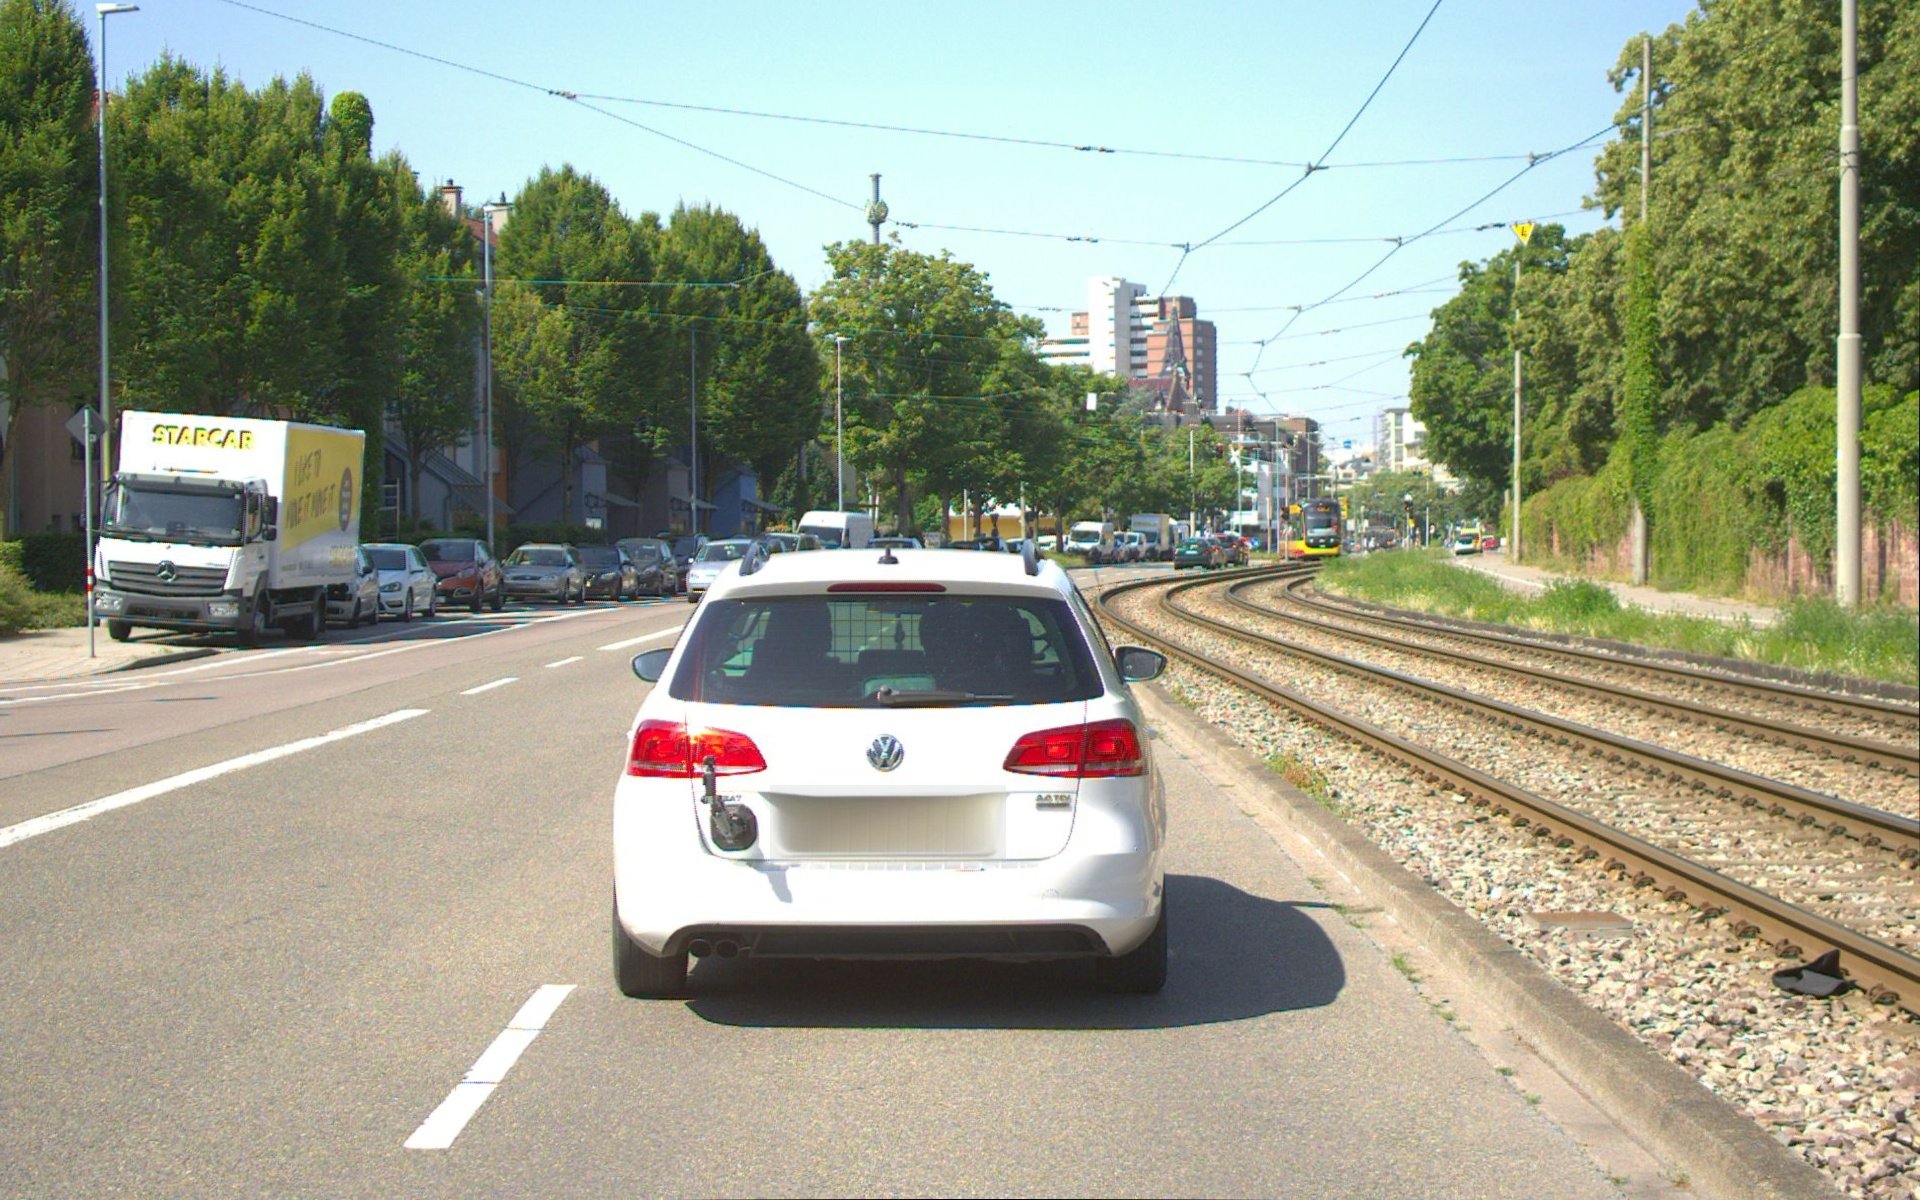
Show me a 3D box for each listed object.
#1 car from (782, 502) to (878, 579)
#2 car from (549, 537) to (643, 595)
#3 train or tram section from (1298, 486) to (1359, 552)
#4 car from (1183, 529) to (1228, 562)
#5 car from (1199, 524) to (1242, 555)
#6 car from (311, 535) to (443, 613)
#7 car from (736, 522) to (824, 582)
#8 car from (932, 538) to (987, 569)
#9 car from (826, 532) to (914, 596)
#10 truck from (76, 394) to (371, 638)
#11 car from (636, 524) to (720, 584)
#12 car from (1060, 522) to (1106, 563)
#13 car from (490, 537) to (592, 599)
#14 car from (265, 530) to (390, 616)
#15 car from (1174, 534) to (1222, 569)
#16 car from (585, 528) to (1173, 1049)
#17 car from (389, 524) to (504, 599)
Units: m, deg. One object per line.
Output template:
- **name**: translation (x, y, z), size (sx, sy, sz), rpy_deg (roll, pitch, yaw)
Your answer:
- **car**: translation (-4.797, -2.215, 128.119), size (1.995, 2.705, 7.154), rpy_deg (3, 1, 10)
- **car**: translation (-9.738, -0.930, 92.266), size (1.723, 1.469, 4.714), rpy_deg (1, 1, 3)
- **train or tram section**: translation (21.780, -4.735, 202.678), size (2.512, 3.734, 13.305), rpy_deg (0, 1, 11)
- **car**: translation (11.498, -2.563, 161.041), size (1.801, 1.455, 3.999), rpy_deg (1, 2, 8)
- **car**: translation (12.740, -2.958, 167.836), size (1.801, 1.455, 3.999), rpy_deg (0, 1, 8)
- **car**: translation (-11.299, -0.532, 66.893), size (1.757, 1.424, 4.282), rpy_deg (1, 1, 1)
- **car**: translation (-6.248, -1.682, 119.855), size (1.920, 1.941, 5.352), rpy_deg (3, 1, 9)
- **car**: translation (-0.008, -2.152, 158.051), size (1.700, 1.412, 3.998), rpy_deg (0, 1, 12)
- **car**: translation (-2.248, -0.922, 86.562), size (1.801, 1.502, 4.000), rpy_deg (1, 2, 4)
- **truck**: translation (-11.556, -1.330, 54.783), size (2.667, 3.518, 8.591), rpy_deg (1, 1, 1)
- **car**: translation (-8.489, -1.395, 103.718), size (1.769, 1.717, 4.869), rpy_deg (2, 1, 4)
- **car**: translation (7.328, -3.400, 204.598), size (1.881, 2.407, 5.113), rpy_deg (0, 1, 12)
- **car**: translation (-10.423, -0.807, 85.757), size (1.780, 1.478, 4.857), rpy_deg (1, 1, 2)
- **car**: translation (-11.383, -0.509, 62.090), size (1.609, 1.478, 3.636), rpy_deg (1, 1, -1)
- **car**: translation (10.717, -2.201, 154.505), size (1.801, 1.502, 3.999), rpy_deg (1, 2, 8)
- **car**: translation (-0.289, 0.504, 12.227), size (1.691, 1.446, 4.459), rpy_deg (1, 2, -1)
- **car**: translation (-11.153, -0.863, 74.928), size (1.731, 1.546, 4.318), rpy_deg (1, 1, 2)
